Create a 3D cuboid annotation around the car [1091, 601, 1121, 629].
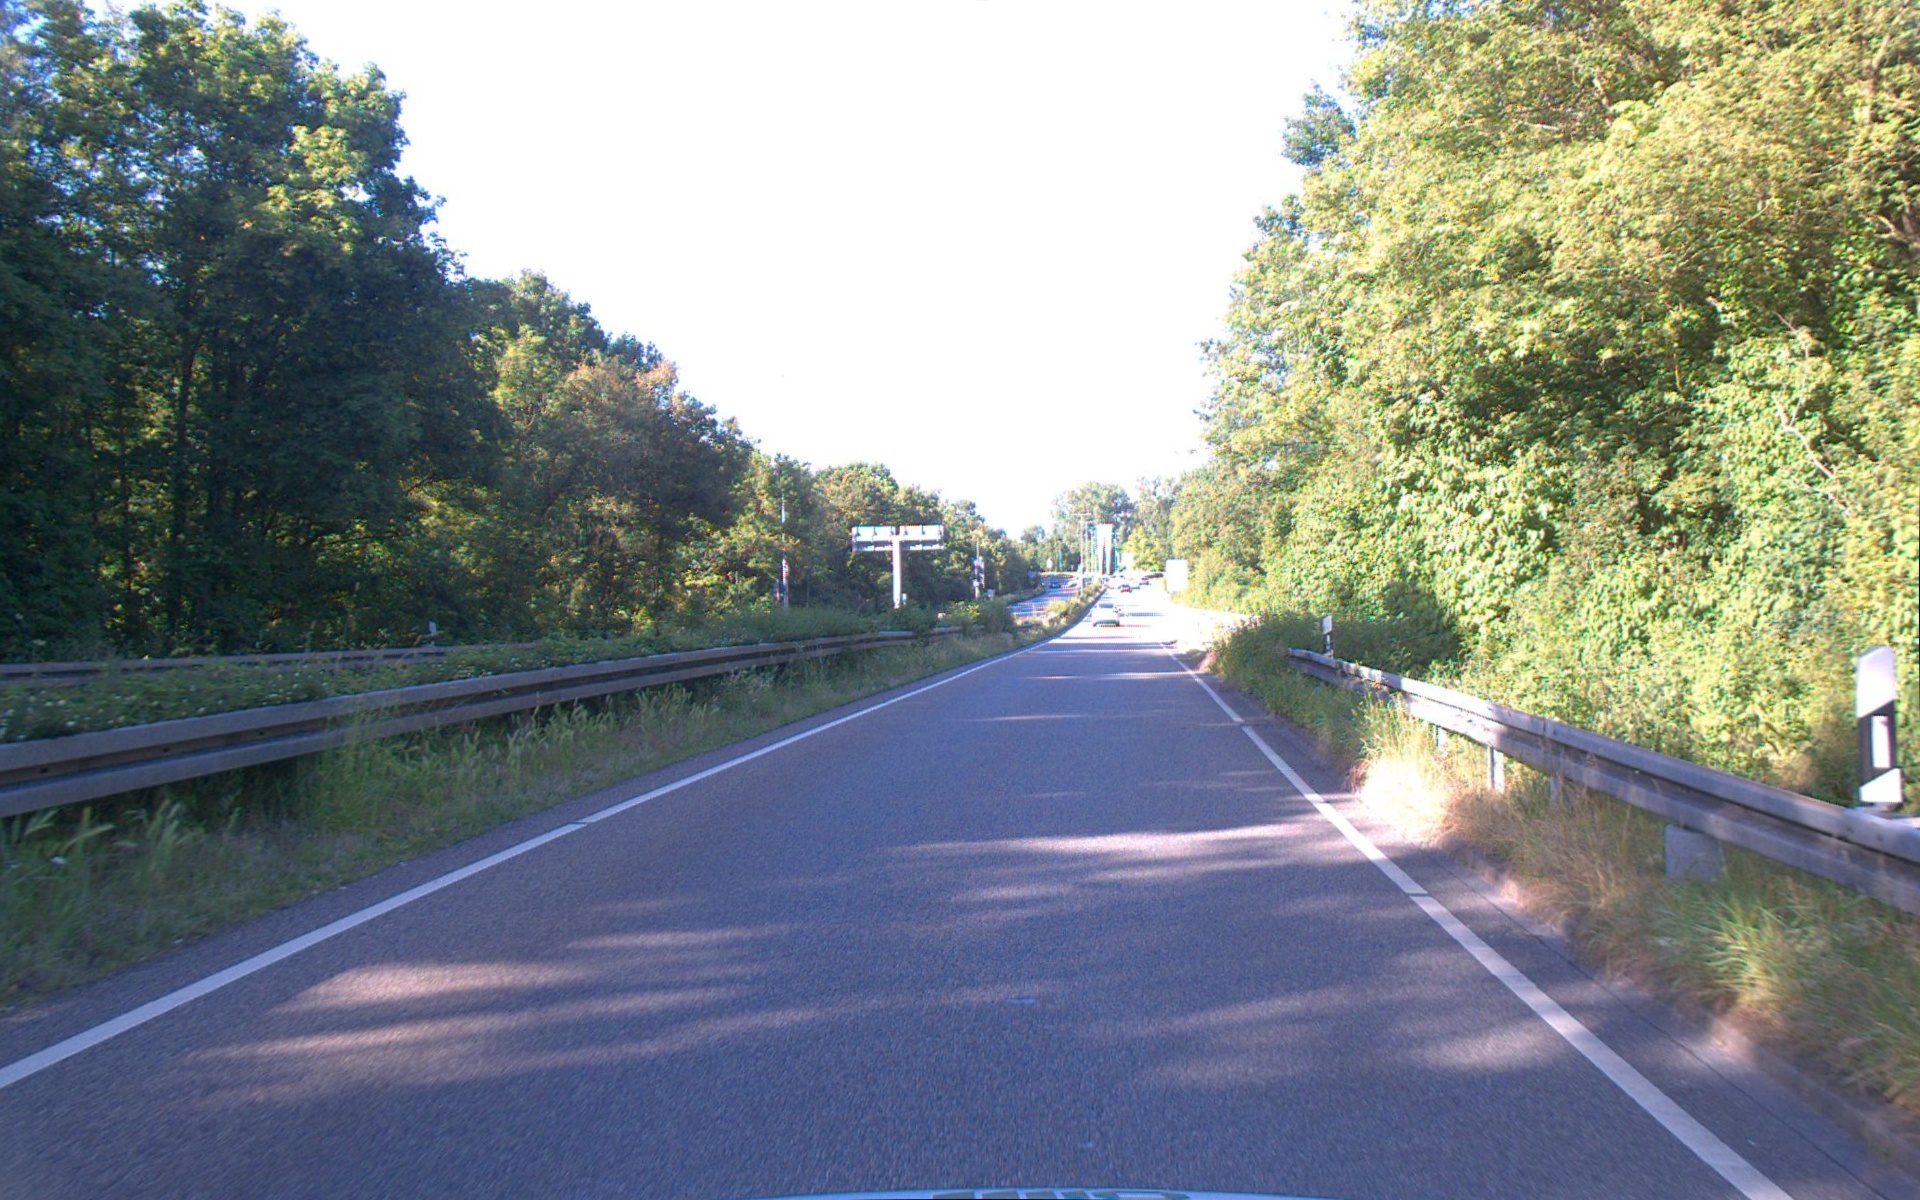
[{"bbox_3d":[10.203,1.022,115.782,1.845,1.847,4.001,1,0,3],"label":"car"}]
